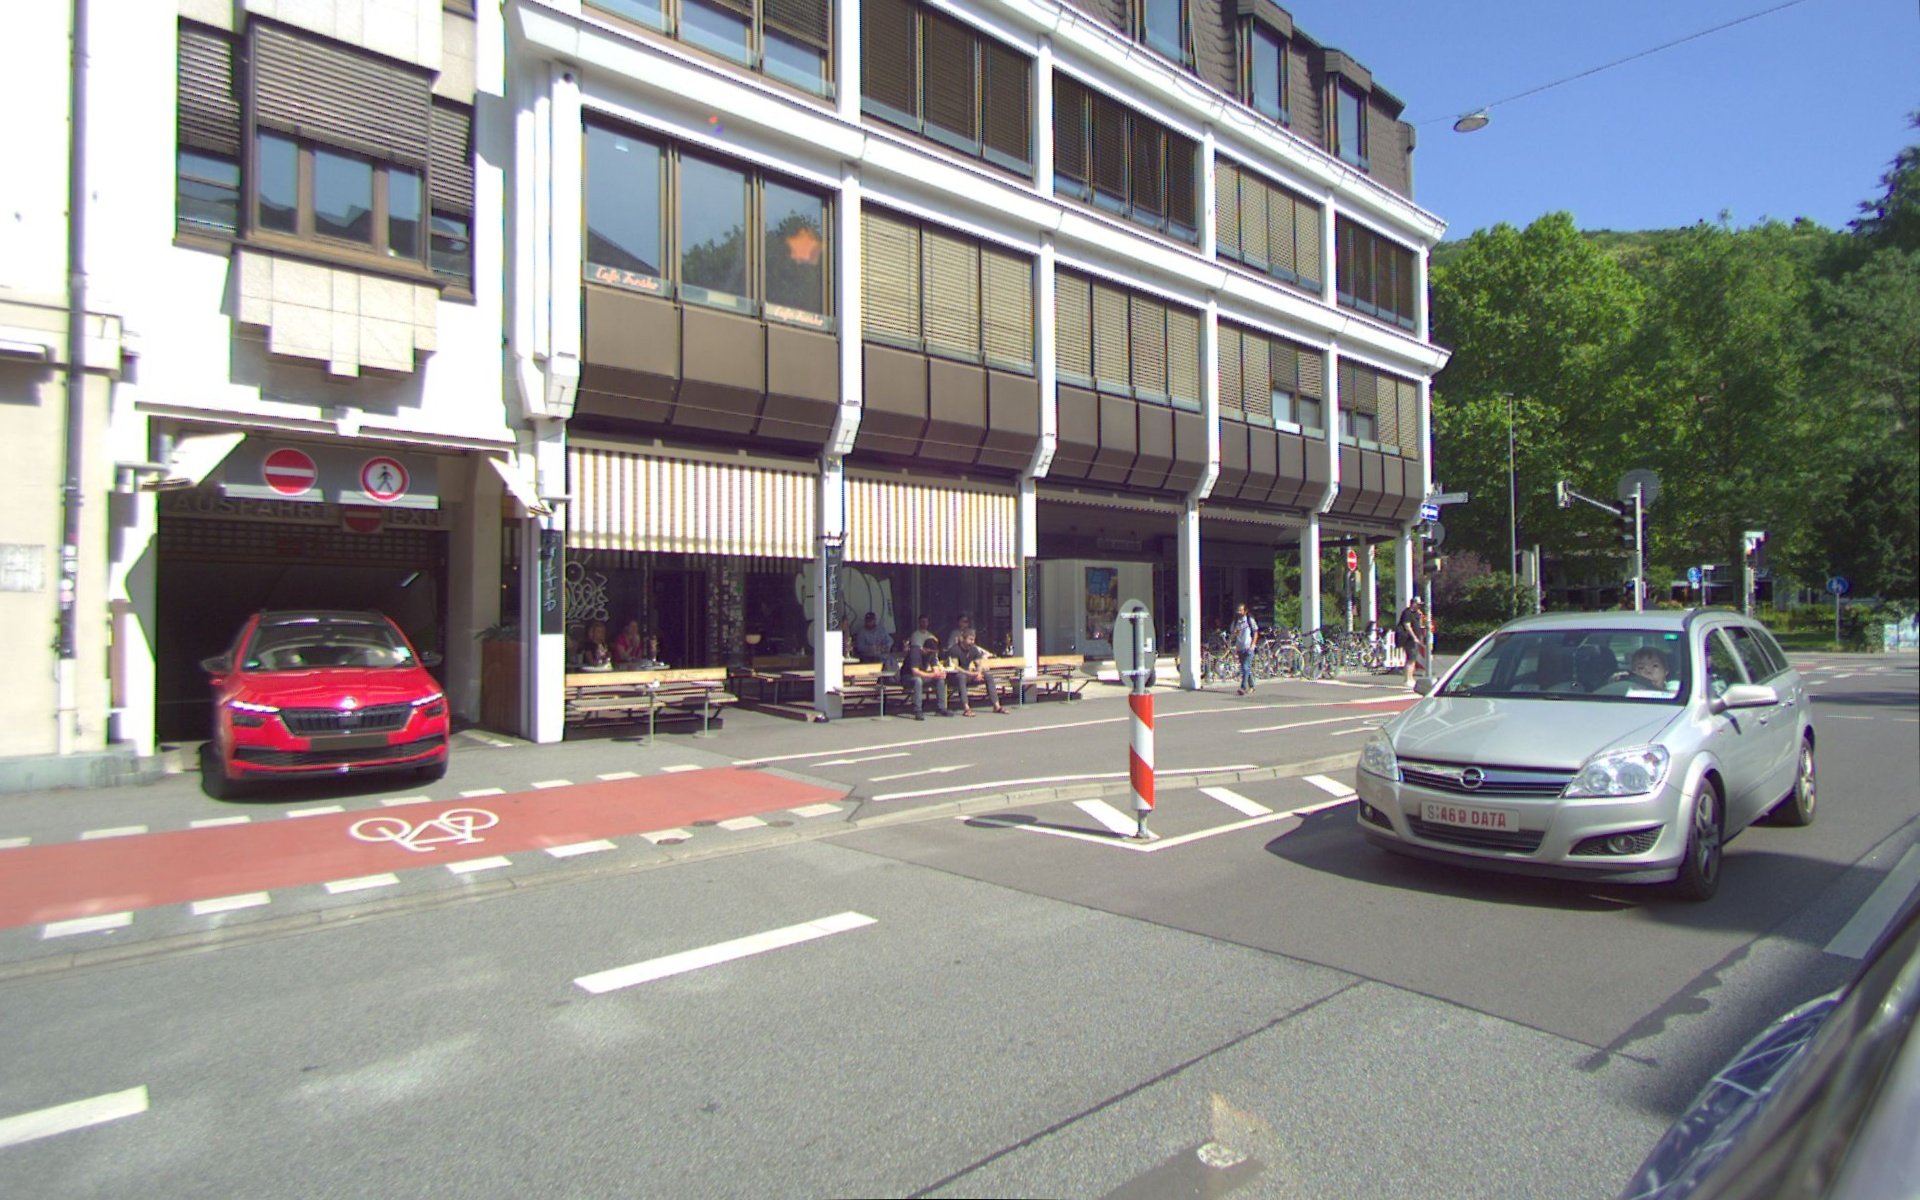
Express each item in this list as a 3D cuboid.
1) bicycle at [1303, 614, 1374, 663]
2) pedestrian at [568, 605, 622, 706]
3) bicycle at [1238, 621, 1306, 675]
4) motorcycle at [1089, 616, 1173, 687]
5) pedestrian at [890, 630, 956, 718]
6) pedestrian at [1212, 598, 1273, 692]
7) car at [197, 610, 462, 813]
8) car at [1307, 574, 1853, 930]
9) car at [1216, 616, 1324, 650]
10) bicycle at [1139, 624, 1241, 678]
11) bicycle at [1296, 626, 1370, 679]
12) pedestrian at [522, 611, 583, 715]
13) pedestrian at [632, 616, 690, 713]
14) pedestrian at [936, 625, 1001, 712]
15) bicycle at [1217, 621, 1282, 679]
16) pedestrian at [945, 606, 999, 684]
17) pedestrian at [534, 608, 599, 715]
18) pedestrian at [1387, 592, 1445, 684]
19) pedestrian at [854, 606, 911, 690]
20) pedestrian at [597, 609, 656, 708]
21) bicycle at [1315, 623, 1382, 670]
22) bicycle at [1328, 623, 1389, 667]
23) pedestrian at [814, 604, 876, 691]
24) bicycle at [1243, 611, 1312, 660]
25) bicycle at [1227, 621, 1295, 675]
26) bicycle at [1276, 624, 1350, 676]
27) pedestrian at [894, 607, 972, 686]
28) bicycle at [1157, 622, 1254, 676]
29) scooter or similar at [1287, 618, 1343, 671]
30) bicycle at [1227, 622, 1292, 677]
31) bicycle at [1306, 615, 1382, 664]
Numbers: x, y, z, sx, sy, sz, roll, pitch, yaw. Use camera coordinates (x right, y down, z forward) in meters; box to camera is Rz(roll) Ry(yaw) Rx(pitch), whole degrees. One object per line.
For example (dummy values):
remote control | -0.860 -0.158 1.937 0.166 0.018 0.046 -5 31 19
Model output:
bicycle | 10.814 1.091 28.962 1.830 1.334 0.529 1 -1 12
pedestrian | -5.158 0.763 14.294 0.470 1.385 0.762 1 -2 -40
bicycle | 7.104 1.070 23.101 0.272 1.134 1.723 1 0 -32
motorcycle | 3.446 1.005 20.642 0.929 1.307 2.247 -1 0 -12
pedestrian | -0.537 1.037 14.574 0.683 1.187 0.714 -1 0 -31
pedestrian | 5.241 0.820 18.797 0.683 1.684 0.836 -1 0 -31
car | -6.305 0.872 9.903 1.808 1.513 4.054 0 0 -38
car | 4.164 0.693 6.473 4.328 1.542 1.710 1 -2 -41
car | 13.242 1.402 43.405 1.826 1.381 4.092 2 -2 -39
bicycle | 4.916 1.078 21.782 2.230 1.111 0.274 -1 -2 38
bicycle | 8.390 1.152 22.709 2.199 1.135 0.278 1 -2 -32
pedestrian | -5.677 0.853 14.087 0.574 1.385 0.745 1 -2 -41
pedestrian | -4.425 0.926 14.976 0.527 1.385 0.837 1 -2 -40
pedestrian | 0.124 0.999 15.095 0.683 1.232 0.714 -1 0 -31
bicycle | 6.301 1.067 22.077 0.272 1.222 1.551 1 -2 -32
pedestrian | 0.221 0.831 19.020 0.684 1.414 0.712 -1 0 -41
pedestrian | -5.309 0.809 13.655 0.677 1.385 0.536 1 -2 -39
pedestrian | 9.477 0.771 21.051 0.683 1.859 0.836 -1 0 -31
pedestrian | -1.353 0.826 17.676 0.684 1.414 0.712 -1 0 -41
pedestrian | -4.815 0.822 14.593 0.527 1.385 0.878 1 -2 -40
bicycle | 9.599 1.145 24.999 1.446 1.078 0.376 3 0 7
bicycle | 10.066 1.130 25.584 1.442 1.079 0.309 1 0 -4
pedestrian | -1.943 0.786 17.089 0.685 1.414 0.814 0 -1 -41
bicycle | 9.623 1.065 30.754 1.937 1.440 0.529 1 -1 12
bicycle | 6.781 1.056 22.884 0.272 1.134 1.723 1 0 -32
bicycle | 8.011 1.121 22.918 2.199 1.135 0.278 1 -2 -32
pedestrian | -0.487 0.818 18.395 1.086 1.368 0.897 -1 0 -41
bicycle | 5.358 1.059 22.202 2.235 1.135 0.273 -1 -2 44
scooter or similar | 8.611 1.058 24.567 0.471 1.248 1.250 0 -1 -33
bicycle | 6.581 1.065 22.306 0.272 1.134 1.576 1 0 -32
bicycle | 10.770 1.096 28.435 1.937 1.334 0.529 1 -1 12
